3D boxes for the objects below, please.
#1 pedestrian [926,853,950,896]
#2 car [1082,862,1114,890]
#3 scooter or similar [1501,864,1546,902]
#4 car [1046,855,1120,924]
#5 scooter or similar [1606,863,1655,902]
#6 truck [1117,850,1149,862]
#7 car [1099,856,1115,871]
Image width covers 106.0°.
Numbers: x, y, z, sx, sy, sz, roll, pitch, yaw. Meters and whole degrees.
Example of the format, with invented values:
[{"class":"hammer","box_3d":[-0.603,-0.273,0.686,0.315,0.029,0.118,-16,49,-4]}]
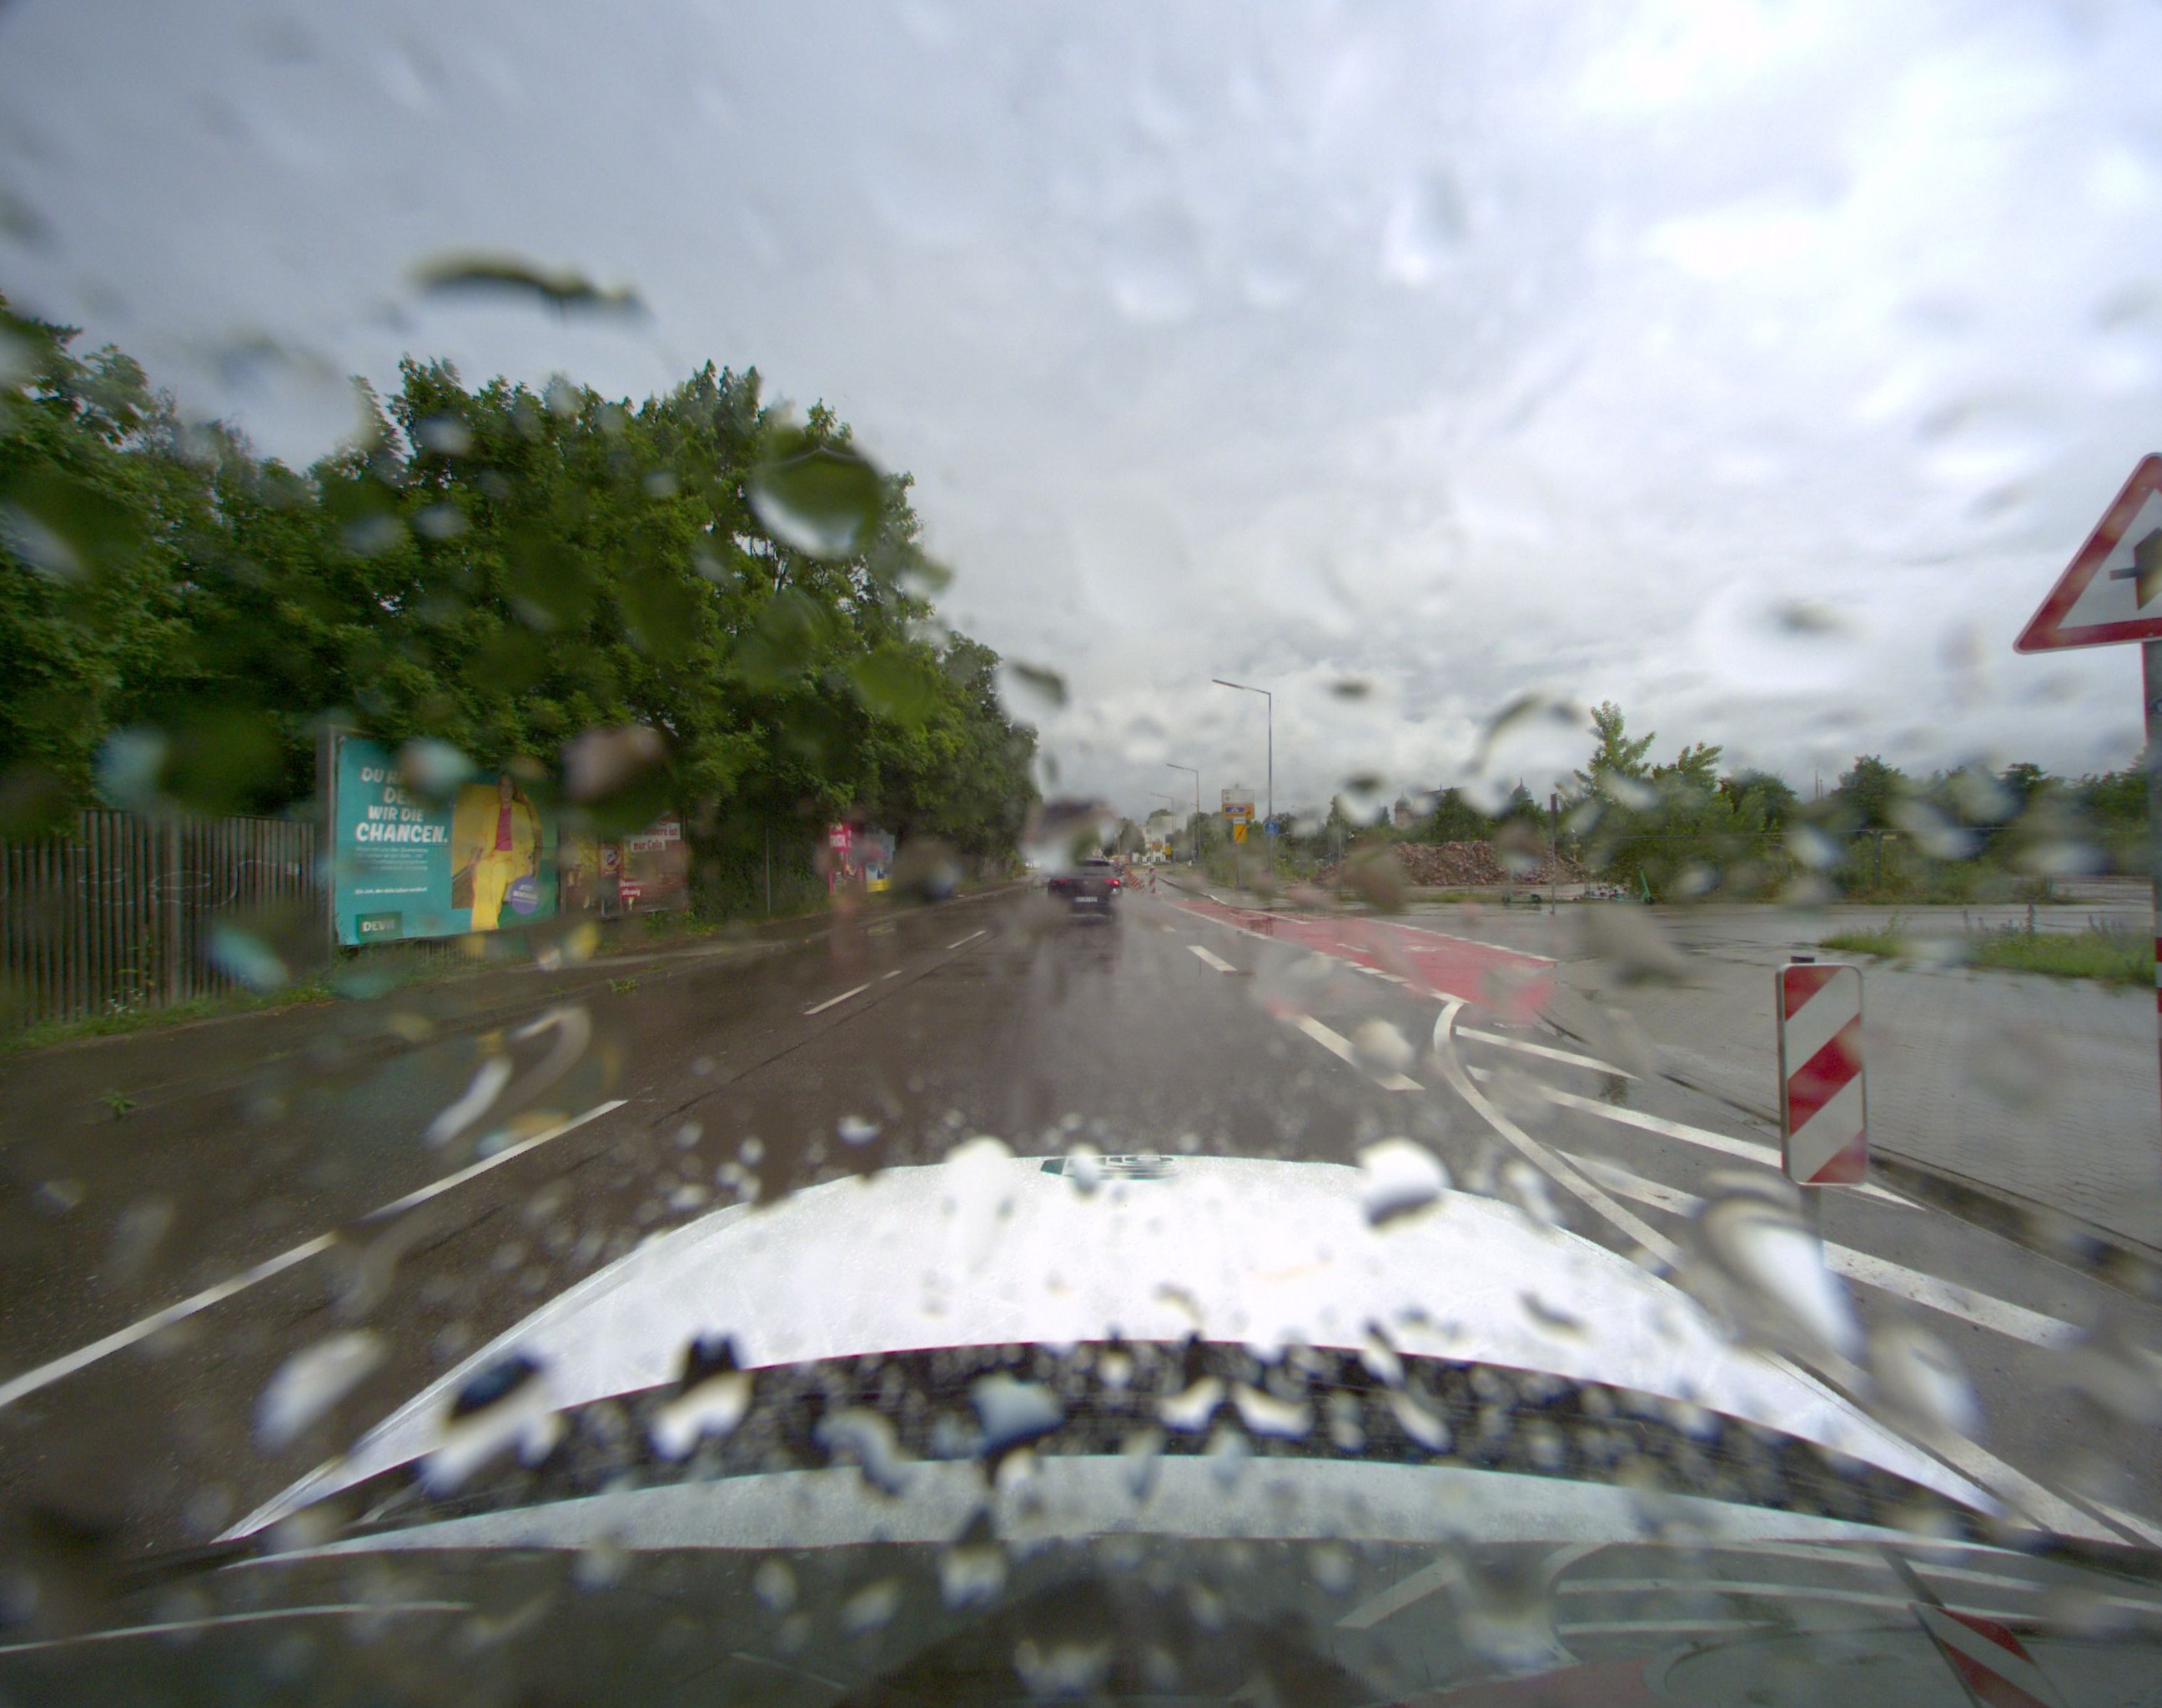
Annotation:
[{"class":"pedestrian","box_3d":[-6.049,0.873,34.402,0.835,1.769,0.645,-1,-1,2]},{"class":"car","box_3d":[0.923,1.215,46.081,1.729,1.514,3.603,0,-1,0]},{"class":"scooter or similar","box_3d":[13.836,0.911,25.480,1.179,1.150,0.486,-2,-1,35]},{"class":"car","box_3d":[0.034,0.842,20.544,1.703,1.574,3.681,0,-1,0]},{"class":"scooter or similar","box_3d":[16.441,0.846,24.381,1.179,1.150,0.751,-1,-1,35]},{"class":"truck","box_3d":[11.869,0.519,185.402,7.035,2.650,2.332,0,-1,4]},{"class":"car","box_3d":[3.324,1.217,103.022,1.858,1.809,4.402,0,-1,0]}]
